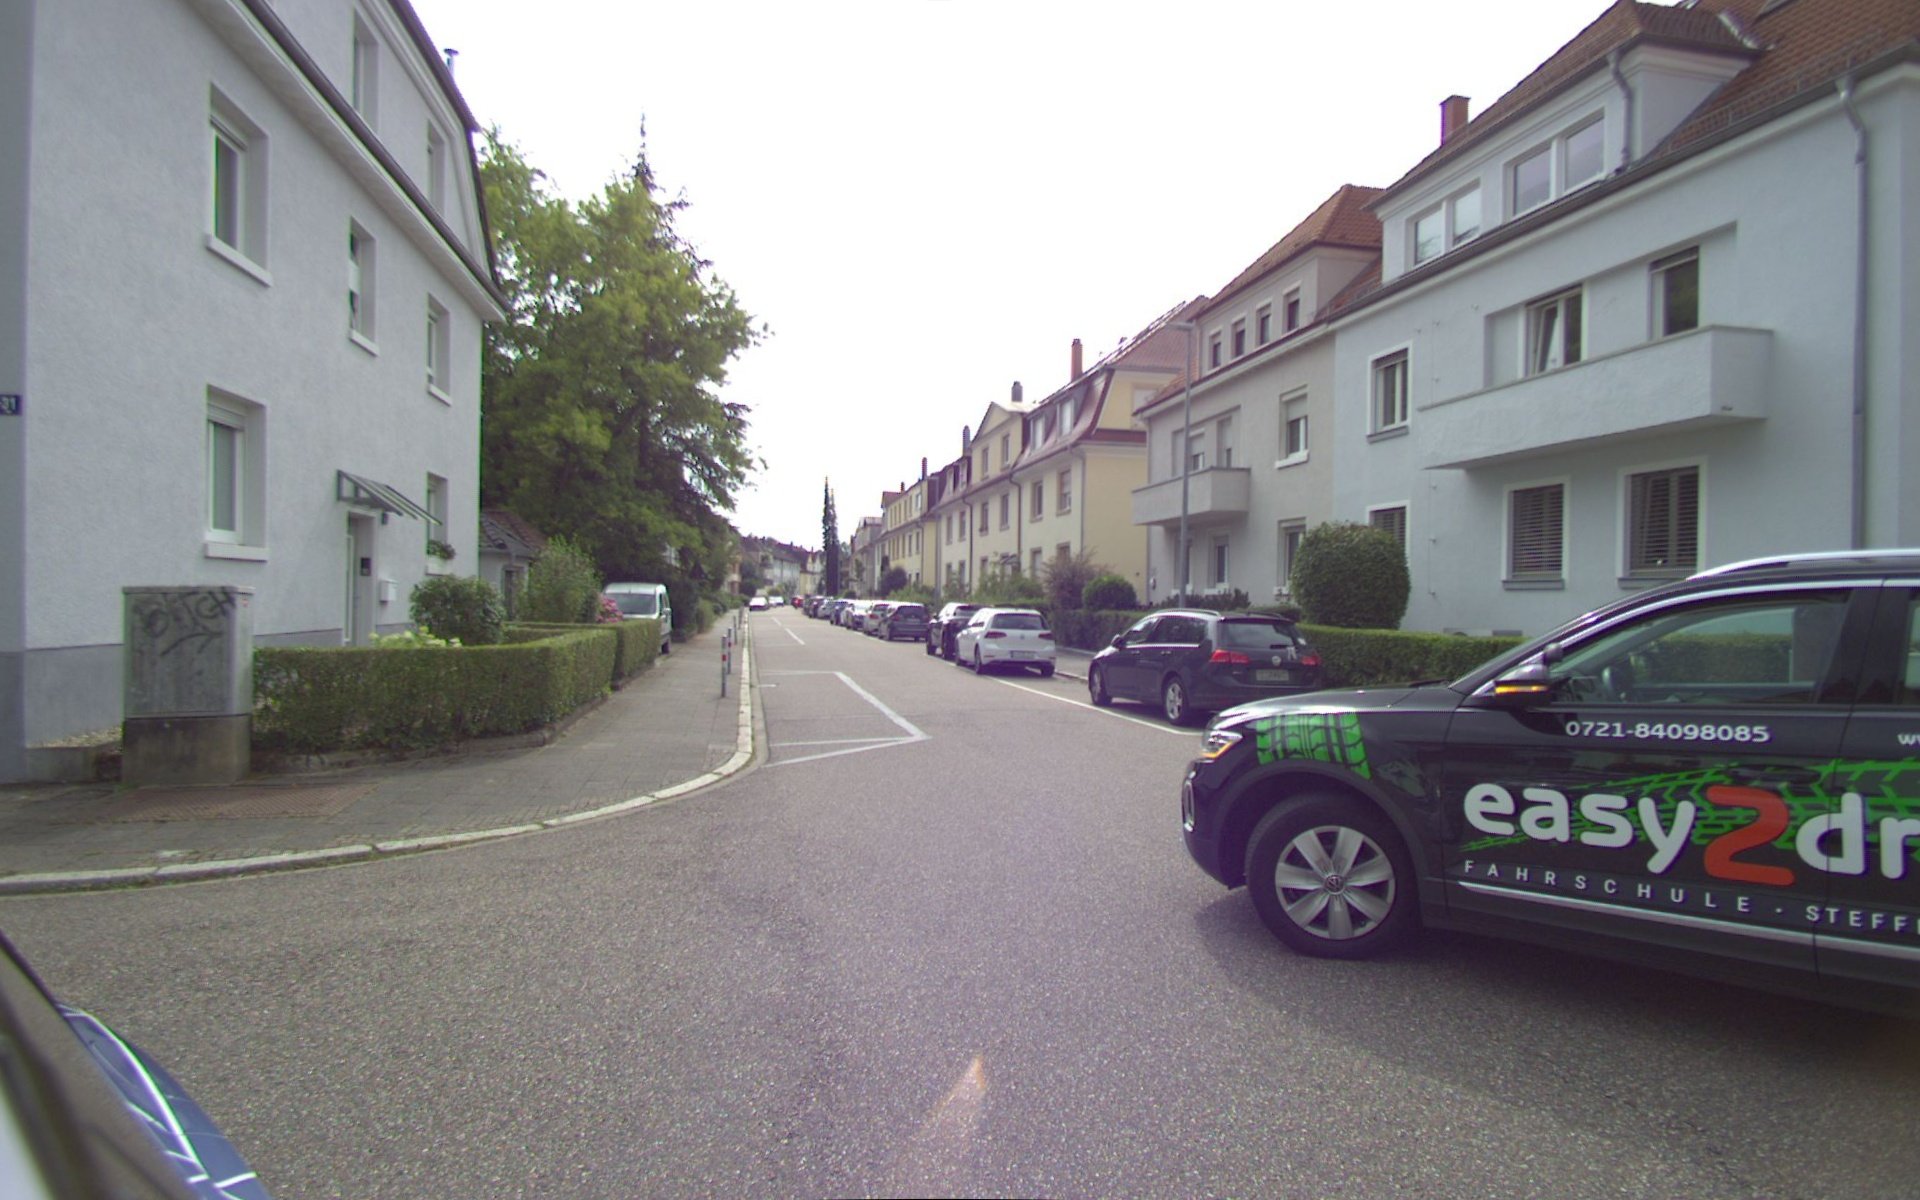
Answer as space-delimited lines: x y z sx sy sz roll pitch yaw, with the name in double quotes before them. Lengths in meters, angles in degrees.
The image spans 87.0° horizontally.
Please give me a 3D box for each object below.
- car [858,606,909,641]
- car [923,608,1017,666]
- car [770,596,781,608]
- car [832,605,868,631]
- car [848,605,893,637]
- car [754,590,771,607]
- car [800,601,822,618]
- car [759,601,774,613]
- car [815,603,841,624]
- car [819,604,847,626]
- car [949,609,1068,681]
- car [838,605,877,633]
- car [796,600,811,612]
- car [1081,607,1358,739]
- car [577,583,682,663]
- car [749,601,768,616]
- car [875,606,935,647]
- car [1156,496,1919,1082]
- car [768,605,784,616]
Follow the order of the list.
"car" -3.454 1.014 44.992 1.829 1.482 4.184 1 0 -10
"car" 0.193 0.974 28.139 1.829 1.482 4.184 1 0 -10
"car" -34.574 0.338 189.601 1.968 2.139 4.007 1 0 -8
"car" -6.694 1.050 61.362 1.829 1.482 4.184 1 0 -10
"car" -4.536 1.026 50.594 1.829 1.482 4.184 1 0 -10
"car" -25.232 -0.174 129.209 1.968 2.029 4.008 1 0 -9
"car" -14.432 0.871 97.671 1.829 1.590 4.185 1 0 -12
"car" -27.824 0.960 145.819 1.968 1.652 4.007 1 0 -8
"car" -10.319 1.037 78.924 1.829 1.590 4.184 1 0 -10
"car" -9.294 1.079 73.799 1.829 1.482 4.184 1 0 -10
"car" 1.009 0.965 23.395 1.829 1.482 4.184 1 0 -10
"car" -5.830 1.040 57.074 1.829 1.482 4.184 1 0 -10
"car" -21.239 0.848 137.079 1.829 1.590 4.184 1 0 -10
"car" 3.297 0.863 13.802 1.828 1.482 4.187 1 0 -15
"car" -8.232 0.553 25.565 1.968 1.852 4.009 1 0 -10
"car" -23.227 0.955 116.742 1.968 1.652 4.007 1 0 -8
"car" -2.224 1.000 39.763 1.829 1.482 4.184 1 0 -10
"car" 2.906 0.503 3.511 4.043 1.531 1.796 0 -1 43
"car" -28.939 1.659 159.465 1.970 1.548 4.003 -1 0 -3
